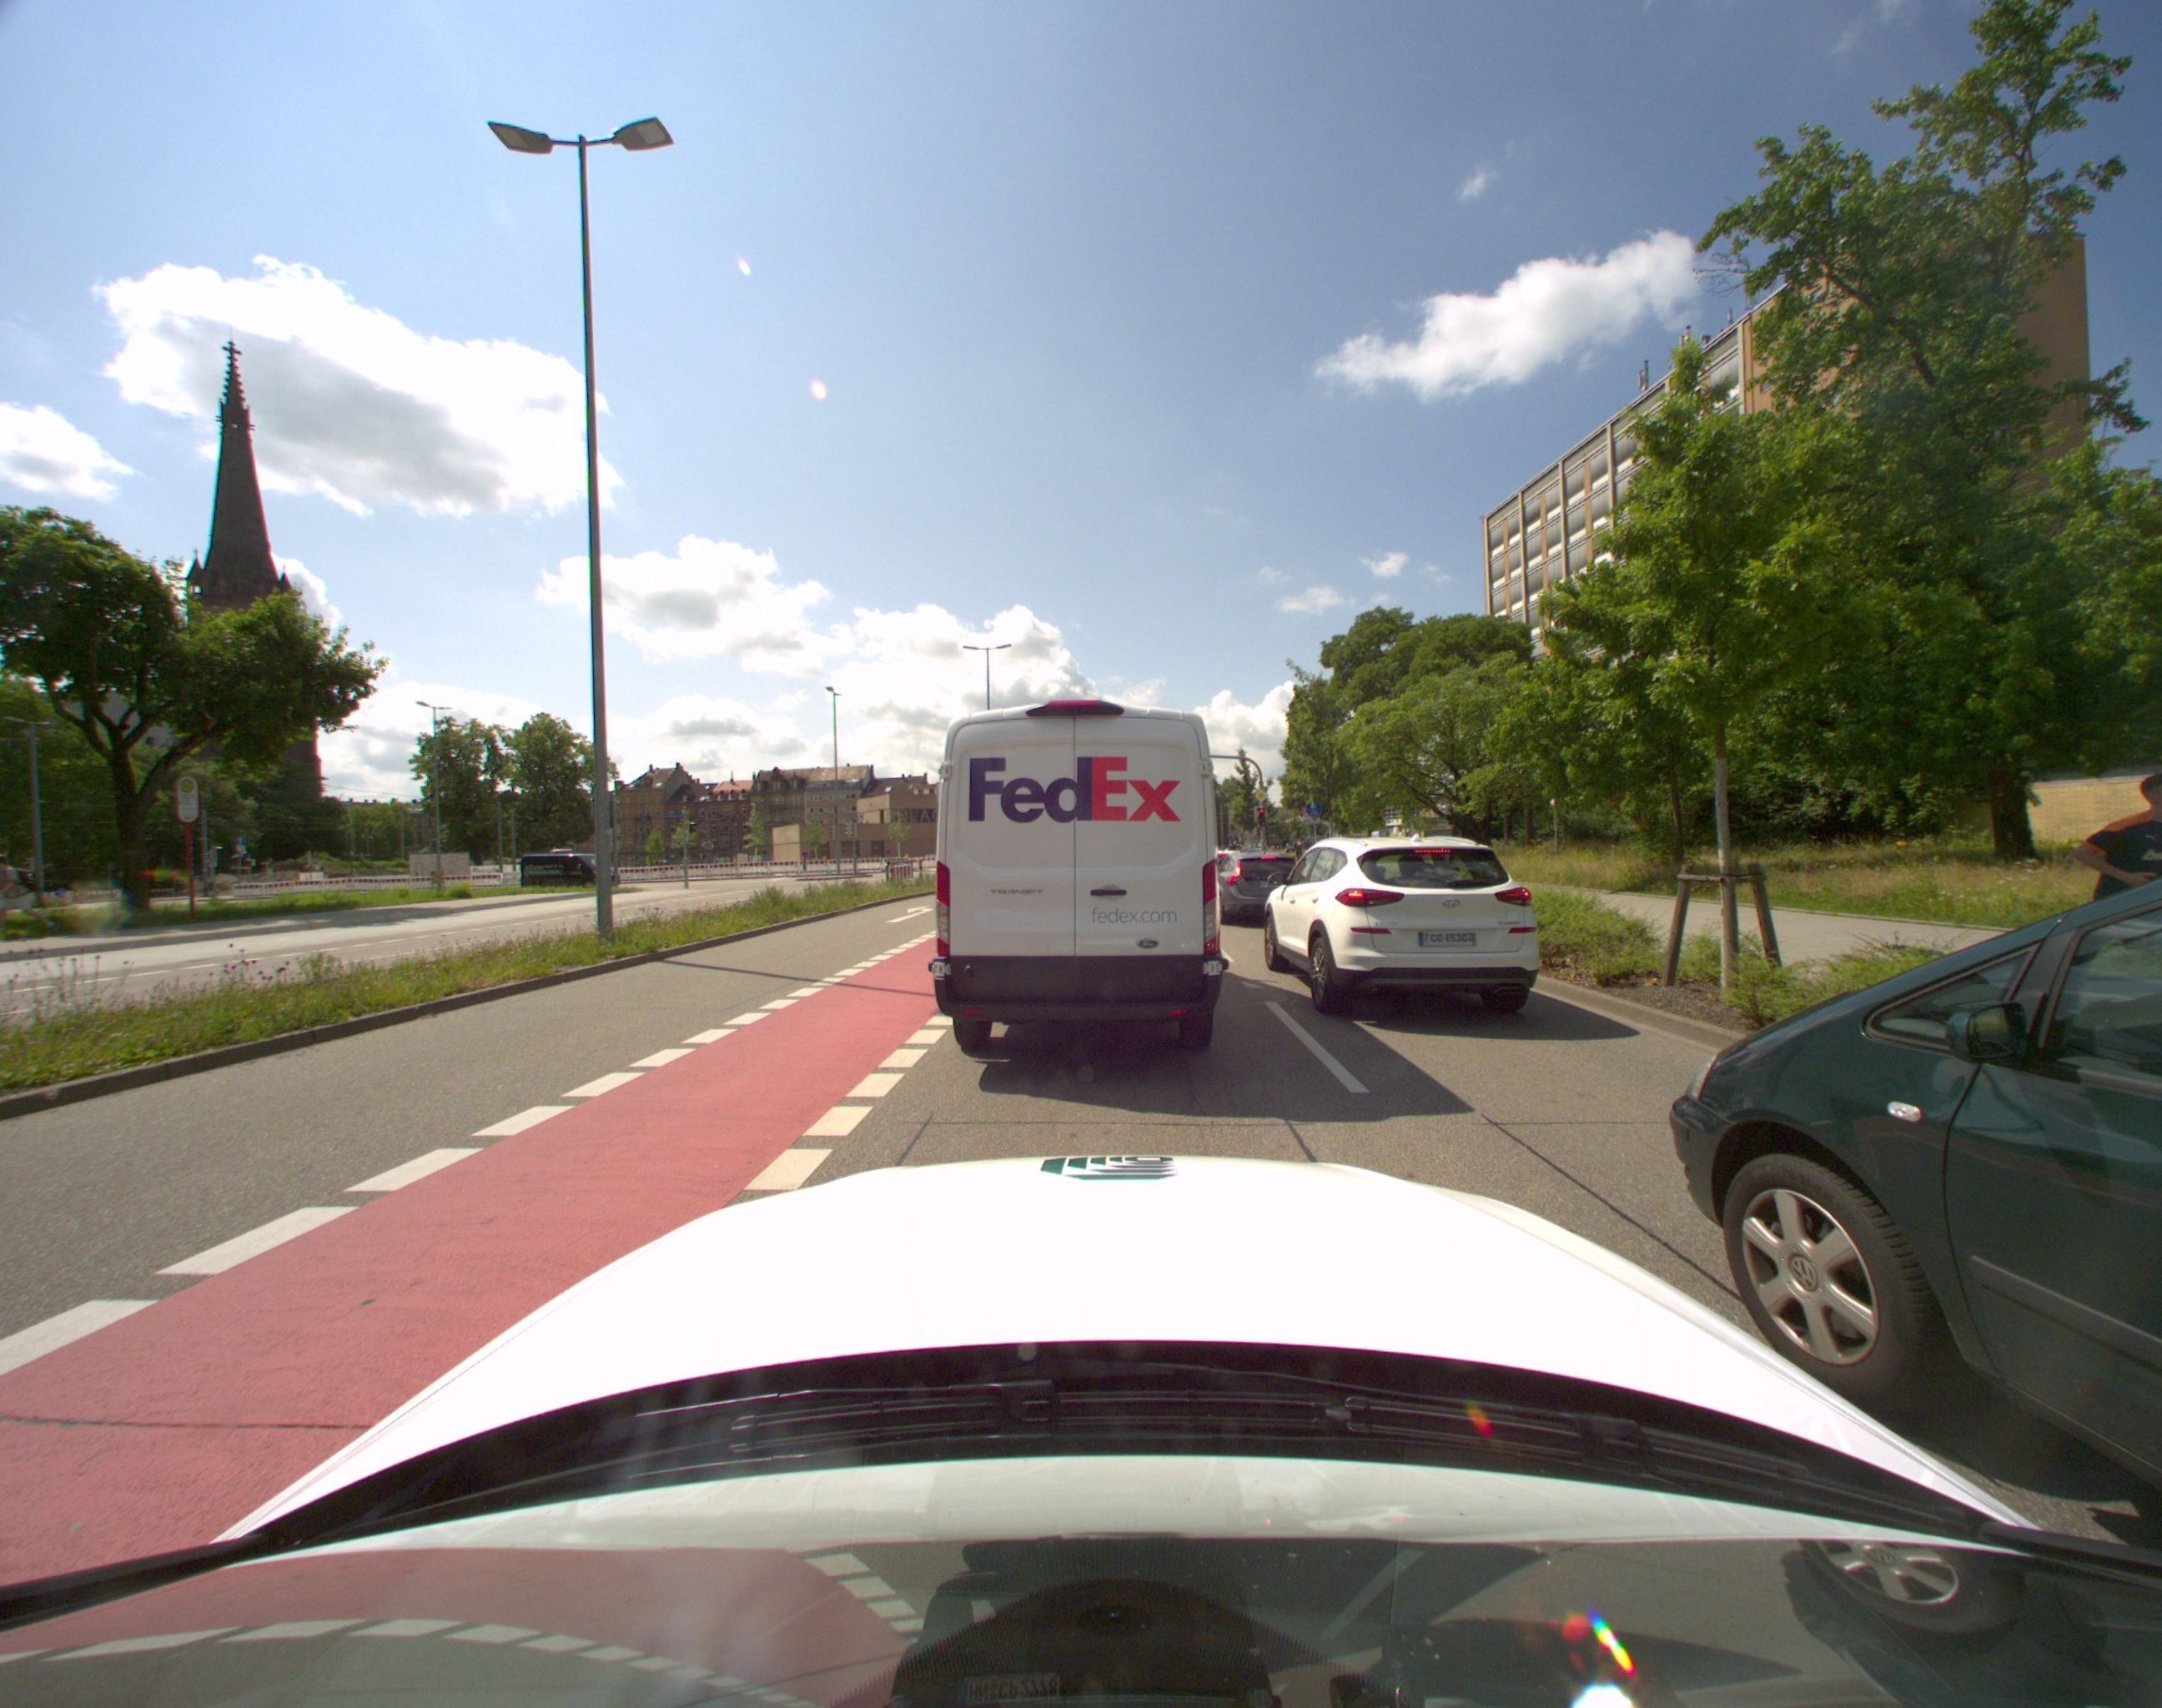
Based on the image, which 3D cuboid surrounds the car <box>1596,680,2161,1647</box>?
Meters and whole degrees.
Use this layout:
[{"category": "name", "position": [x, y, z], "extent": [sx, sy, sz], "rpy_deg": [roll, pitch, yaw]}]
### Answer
[{"category": "car", "position": [2.817, 0.551, 0.916], "extent": [1.805, 1.734, 4.390], "rpy_deg": [-1, 0, 2]}]

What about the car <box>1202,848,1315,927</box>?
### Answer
[{"category": "car", "position": [3.663, 0.624, 17.427], "extent": [1.790, 1.461, 3.842], "rpy_deg": [-2, 0, 4]}]

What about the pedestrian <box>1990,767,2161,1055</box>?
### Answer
[{"category": "pedestrian", "position": [7.333, 0.363, 5.740], "extent": [0.947, 1.892, 0.774], "rpy_deg": [-2, 0, 1]}]

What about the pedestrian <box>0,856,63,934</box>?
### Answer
[{"category": "pedestrian", "position": [-22.135, 0.847, 17.079], "extent": [0.548, 1.560, 0.881], "rpy_deg": [-2, 0, 33]}]

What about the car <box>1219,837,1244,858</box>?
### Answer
[{"category": "car", "position": [15.786, -0.679, 85.293], "extent": [2.076, 2.013, 4.664], "rpy_deg": [-2, 0, 17]}]

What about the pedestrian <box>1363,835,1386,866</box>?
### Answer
[{"category": "pedestrian", "position": [14.656, -0.168, 40.688], "extent": [0.842, 1.539, 0.835], "rpy_deg": [-2, 0, 1]}]

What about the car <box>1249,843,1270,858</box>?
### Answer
[{"category": "car", "position": [22.485, -0.465, 102.577], "extent": [1.977, 1.794, 4.393], "rpy_deg": [-2, 0, 20]}]

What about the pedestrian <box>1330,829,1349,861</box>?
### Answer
[{"category": "pedestrian", "position": [16.886, -0.558, 53.255], "extent": [0.846, 2.057, 0.737], "rpy_deg": [-2, 0, -16]}]

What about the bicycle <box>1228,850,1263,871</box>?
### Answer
[{"category": "bicycle", "position": [10.255, 0.399, 50.850], "extent": [2.062, 1.290, 0.603], "rpy_deg": [-2, 0, -7]}]

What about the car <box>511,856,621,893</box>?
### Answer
[{"category": "car", "position": [-29.516, 1.158, 46.787], "extent": [4.995, 1.879, 1.928], "rpy_deg": [-2, 1, -2]}]

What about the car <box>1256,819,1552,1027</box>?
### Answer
[{"category": "car", "position": [3.104, 0.556, 8.752], "extent": [1.790, 1.687, 4.004], "rpy_deg": [-2, 0, 4]}]

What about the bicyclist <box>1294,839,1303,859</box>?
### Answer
[{"category": "bicyclist", "position": [16.212, -0.349, 60.661], "extent": [0.546, 1.474, 0.974], "rpy_deg": [-2, 0, 11]}]

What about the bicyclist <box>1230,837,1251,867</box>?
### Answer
[{"category": "bicyclist", "position": [9.962, -0.116, 50.811], "extent": [1.118, 1.844, 0.592], "rpy_deg": [-2, 1, -8]}]

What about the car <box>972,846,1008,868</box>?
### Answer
[{"category": "car", "position": [-8.879, 0.299, 79.627], "extent": [1.978, 2.013, 4.017], "rpy_deg": [-2, 0, 16]}]

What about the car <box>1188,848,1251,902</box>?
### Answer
[{"category": "car", "position": [4.038, 0.570, 24.170], "extent": [1.478, 1.428, 3.436], "rpy_deg": [-2, 0, 4]}]

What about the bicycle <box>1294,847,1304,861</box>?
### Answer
[{"category": "bicycle", "position": [16.227, -0.006, 60.656], "extent": [0.542, 1.030, 1.933], "rpy_deg": [-2, 0, 11]}]

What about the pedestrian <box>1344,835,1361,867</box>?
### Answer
[{"category": "pedestrian", "position": [17.847, -0.201, 53.581], "extent": [0.842, 2.013, 0.741], "rpy_deg": [-2, 0, 1]}]

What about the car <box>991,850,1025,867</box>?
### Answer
[{"category": "car", "position": [-6.961, 0.431, 78.306], "extent": [1.886, 1.585, 4.017], "rpy_deg": [-2, 0, 16]}]

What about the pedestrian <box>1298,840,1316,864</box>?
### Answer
[{"category": "pedestrian", "position": [13.220, -0.102, 47.719], "extent": [0.842, 1.389, 0.741], "rpy_deg": [-2, 0, 1]}]

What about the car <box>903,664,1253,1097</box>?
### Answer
[{"category": "car", "position": [-0.019, 0.153, 7.918], "extent": [2.134, 2.652, 5.703], "rpy_deg": [-1, 0, 0]}]
